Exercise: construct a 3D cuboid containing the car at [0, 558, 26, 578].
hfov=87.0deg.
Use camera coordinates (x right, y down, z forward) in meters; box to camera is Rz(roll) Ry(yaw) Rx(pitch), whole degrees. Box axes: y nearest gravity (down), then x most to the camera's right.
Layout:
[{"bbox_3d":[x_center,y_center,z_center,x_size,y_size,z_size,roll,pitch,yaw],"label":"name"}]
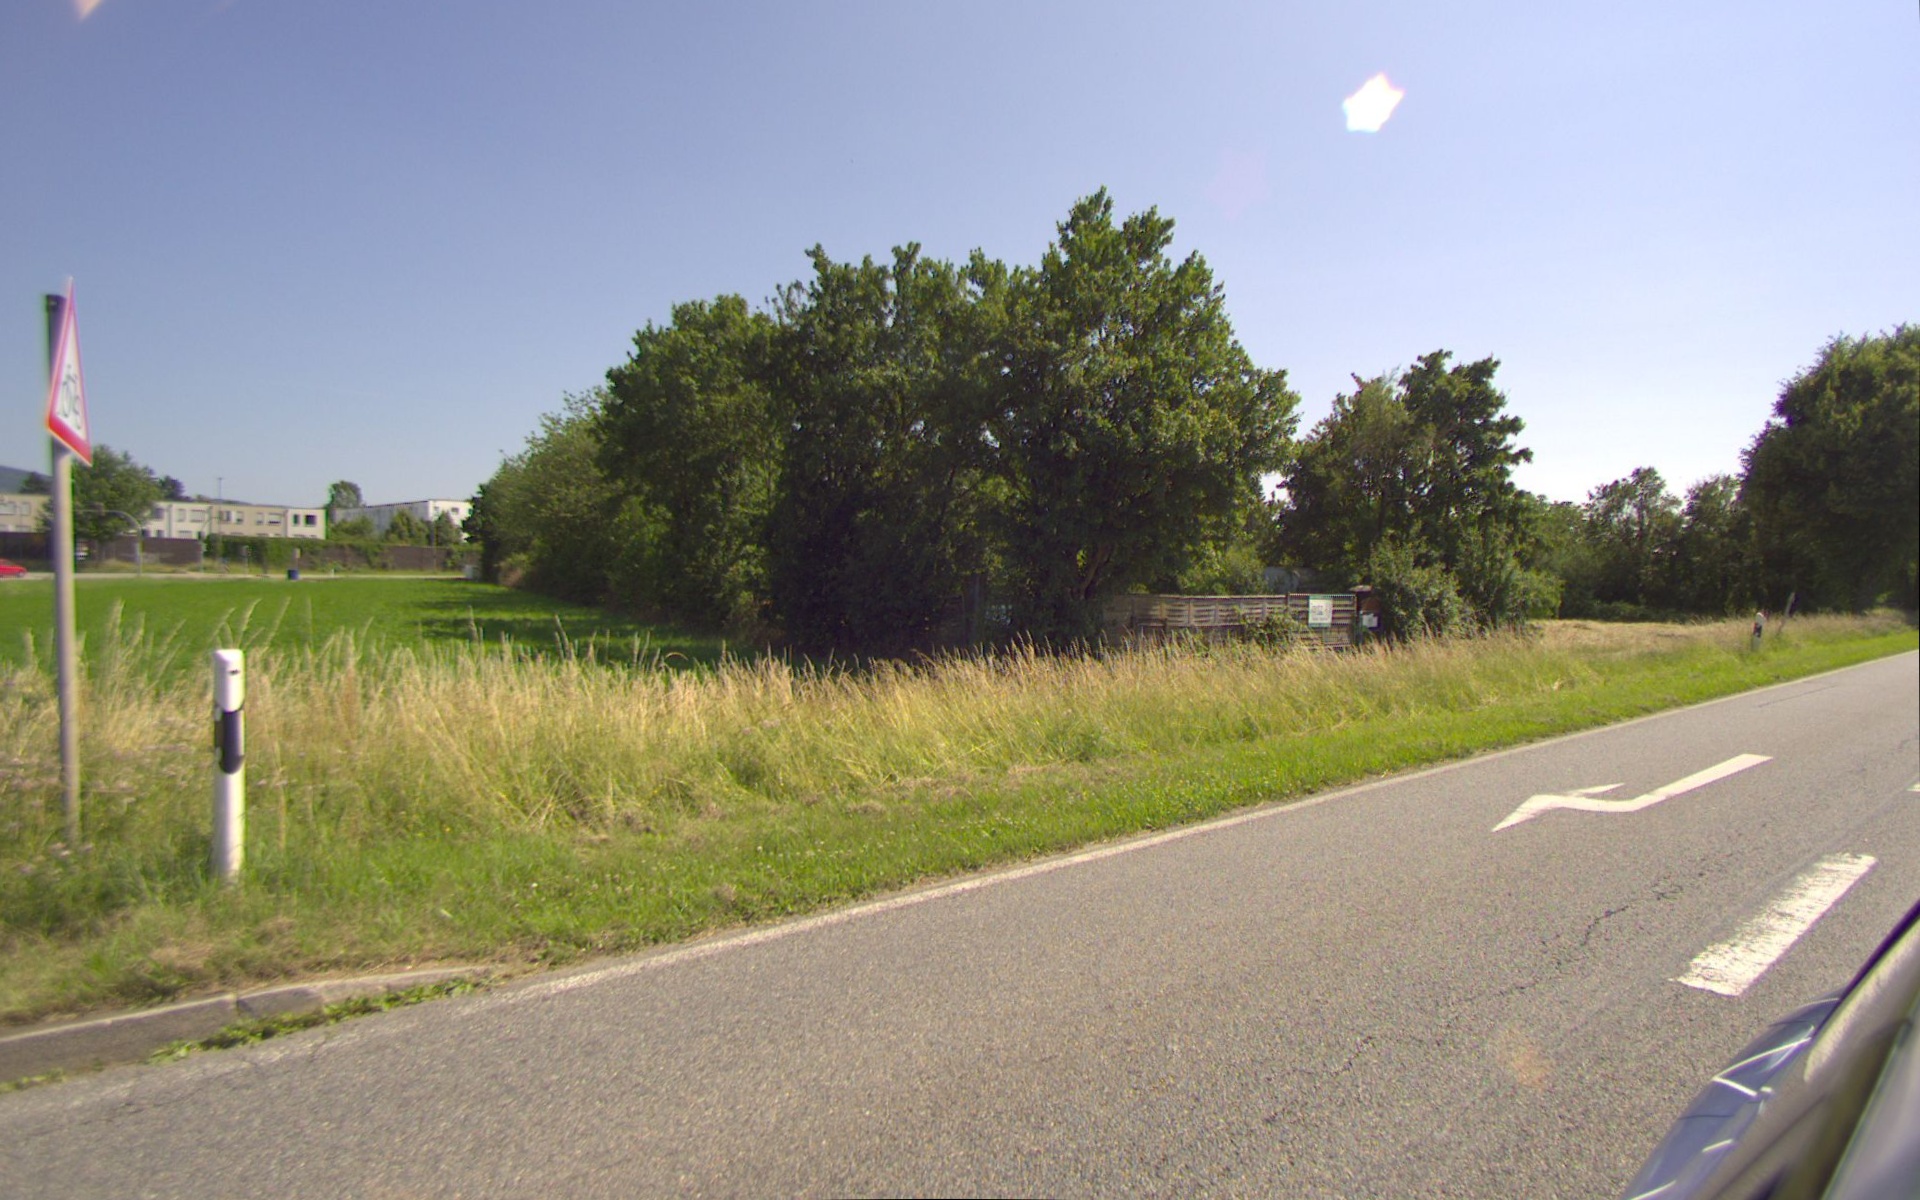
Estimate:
[{"bbox_3d":[-74.366,-2.461,77.898,1.738,1.566,4.008,1,2,-11],"label":"car"}]
